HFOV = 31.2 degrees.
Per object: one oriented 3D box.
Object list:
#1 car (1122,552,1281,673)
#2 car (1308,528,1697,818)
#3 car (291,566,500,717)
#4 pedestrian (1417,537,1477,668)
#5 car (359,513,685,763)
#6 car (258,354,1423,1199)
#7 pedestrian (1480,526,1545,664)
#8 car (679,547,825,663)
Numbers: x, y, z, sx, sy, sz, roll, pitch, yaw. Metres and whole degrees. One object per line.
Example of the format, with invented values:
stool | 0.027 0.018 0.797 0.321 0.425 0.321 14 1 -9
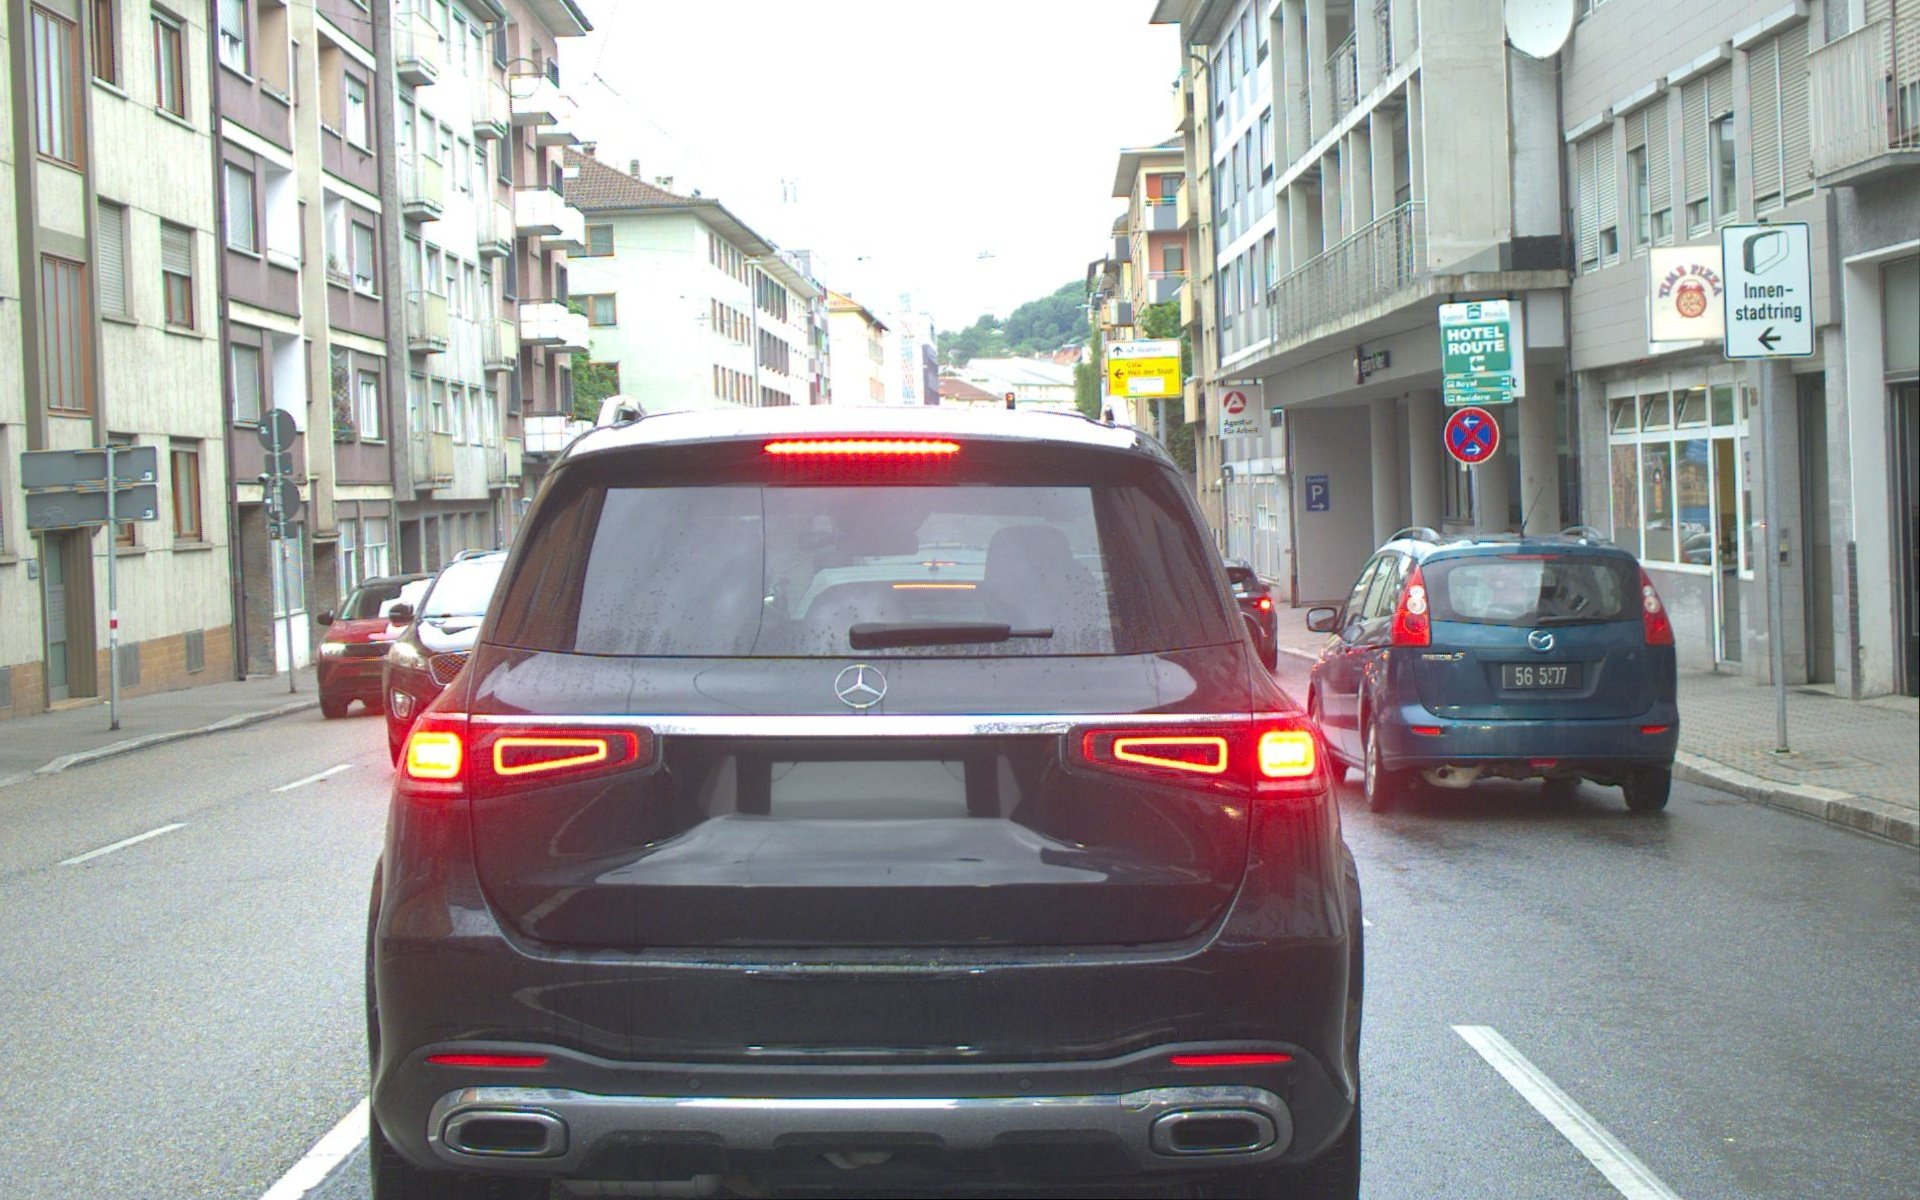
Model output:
car | 3.026 0.125 43.799 1.621 1.425 4.312 1 1 -1
car | 3.206 0.369 21.076 1.808 1.600 4.212 0 1 1
car | -6.689 0.449 41.140 1.797 1.579 4.316 -4 1 -1
pedestrian | 5.697 0.027 40.222 0.506 1.495 0.562 -4 1 -1
car | -3.404 0.237 27.532 1.836 1.721 4.474 -4 1 1
car | -0.251 0.450 8.045 2.025 1.799 4.000 1 1 -1
pedestrian | 6.461 -0.063 40.220 0.560 1.573 0.526 -4 1 -1
car | -3.396 0.043 56.955 2.126 1.715 4.818 -4 1 -1
